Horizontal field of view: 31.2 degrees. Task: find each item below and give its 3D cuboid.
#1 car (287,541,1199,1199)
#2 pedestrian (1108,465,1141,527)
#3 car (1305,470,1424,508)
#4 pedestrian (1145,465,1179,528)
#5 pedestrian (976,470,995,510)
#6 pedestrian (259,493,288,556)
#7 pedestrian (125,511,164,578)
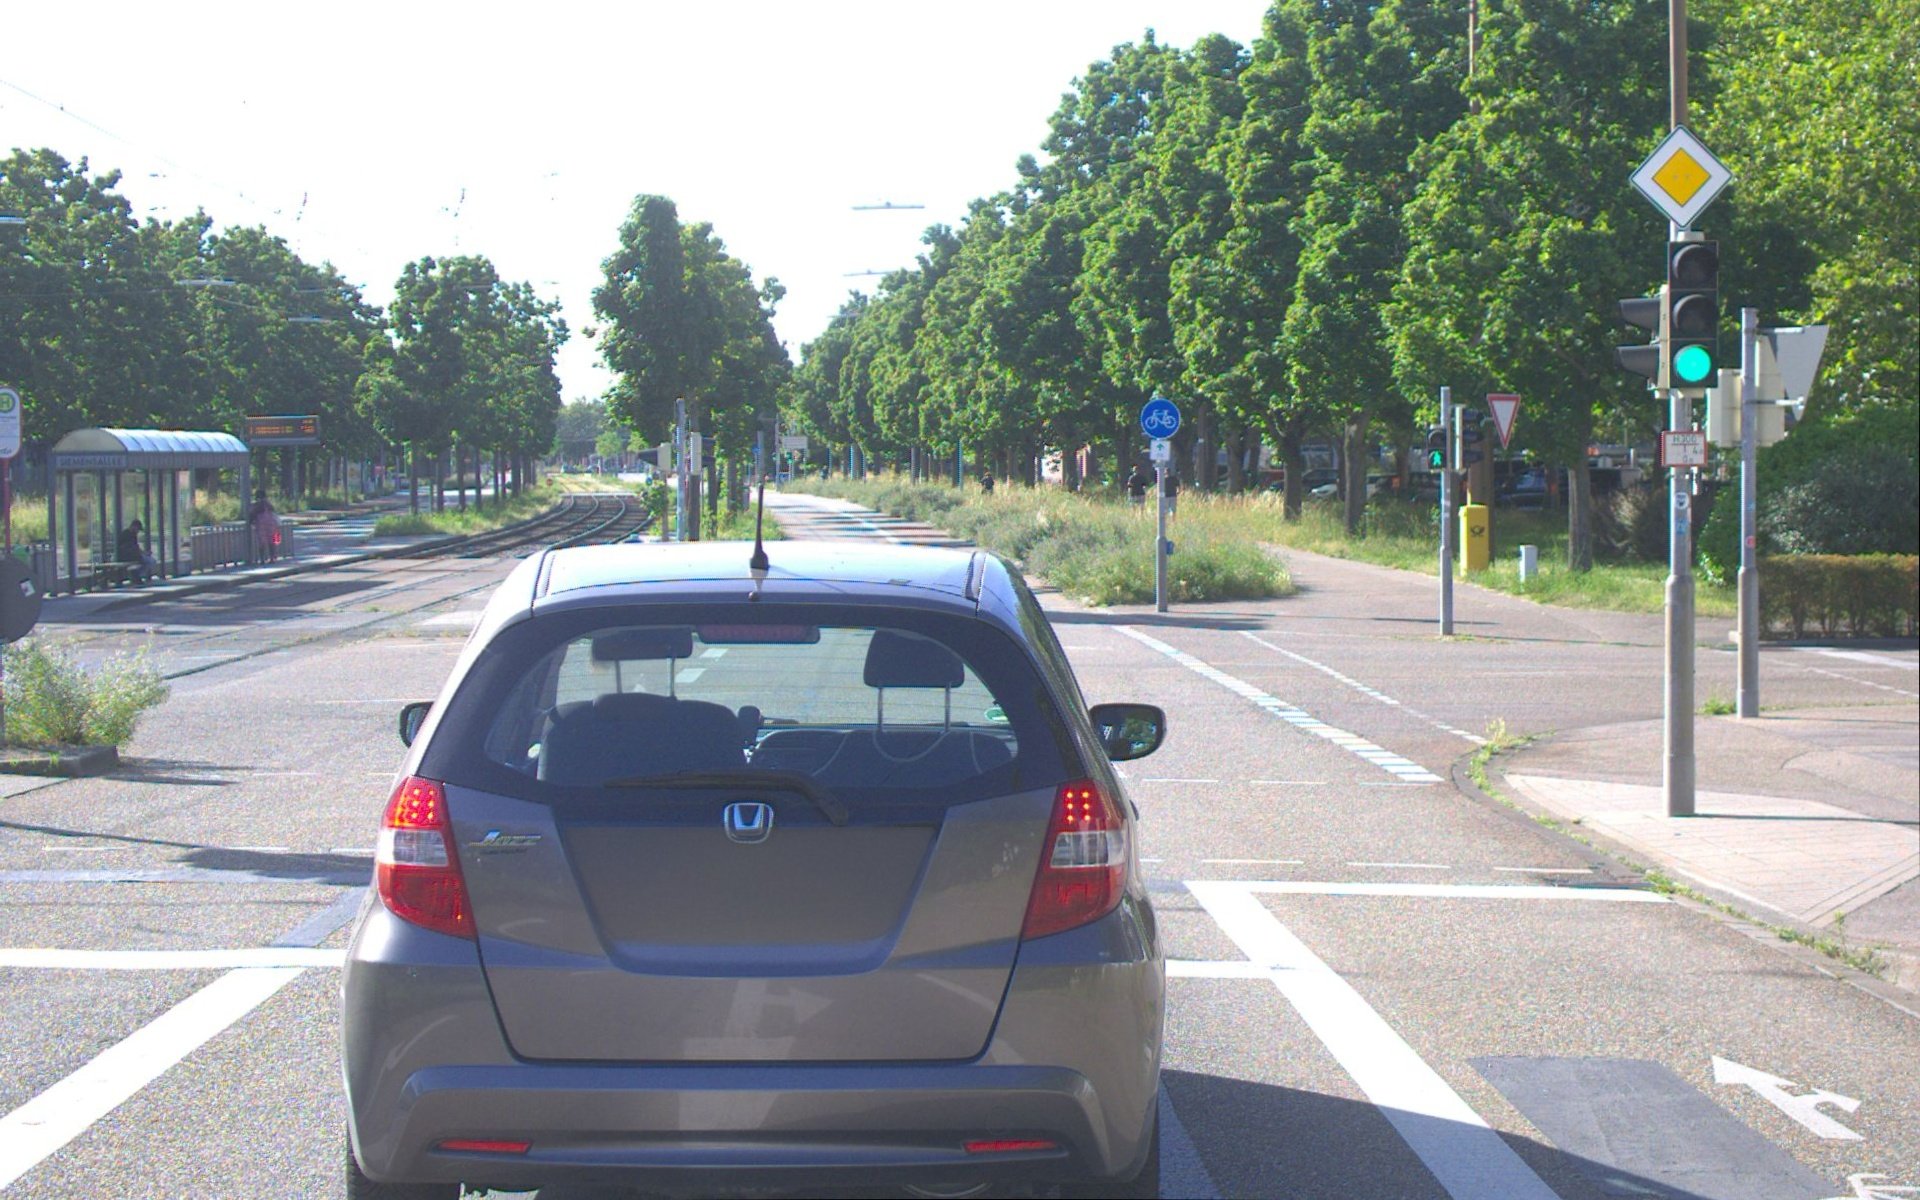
[{"bbox_3d":[-0.429,0.625,8.295,1.701,1.518,3.710,0,1,-1],"label":"car"},{"bbox_3d":[4.987,-3.155,104.234,0.882,1.877,0.875,-1,2,-4],"label":"pedestrian"},{"bbox_3d":[16.975,-4.673,144.518,4.630,1.550,2.001,-1,2,-6],"label":"car"},{"bbox_3d":[6.125,-3.145,104.263,0.882,1.877,0.875,-1,2,-4],"label":"pedestrian"},{"bbox_3d":[1.078,-4.654,145.869,0.725,1.685,0.821,0,1,-3],"label":"pedestrian"},{"bbox_3d":[-15.996,-1.754,80.086,0.544,1.442,0.559,-1,1,-1],"label":"pedestrian"},{"bbox_3d":[-15.544,-1.064,65.533,0.563,1.252,0.581,-3,1,-1],"label":"pedestrian"}]
